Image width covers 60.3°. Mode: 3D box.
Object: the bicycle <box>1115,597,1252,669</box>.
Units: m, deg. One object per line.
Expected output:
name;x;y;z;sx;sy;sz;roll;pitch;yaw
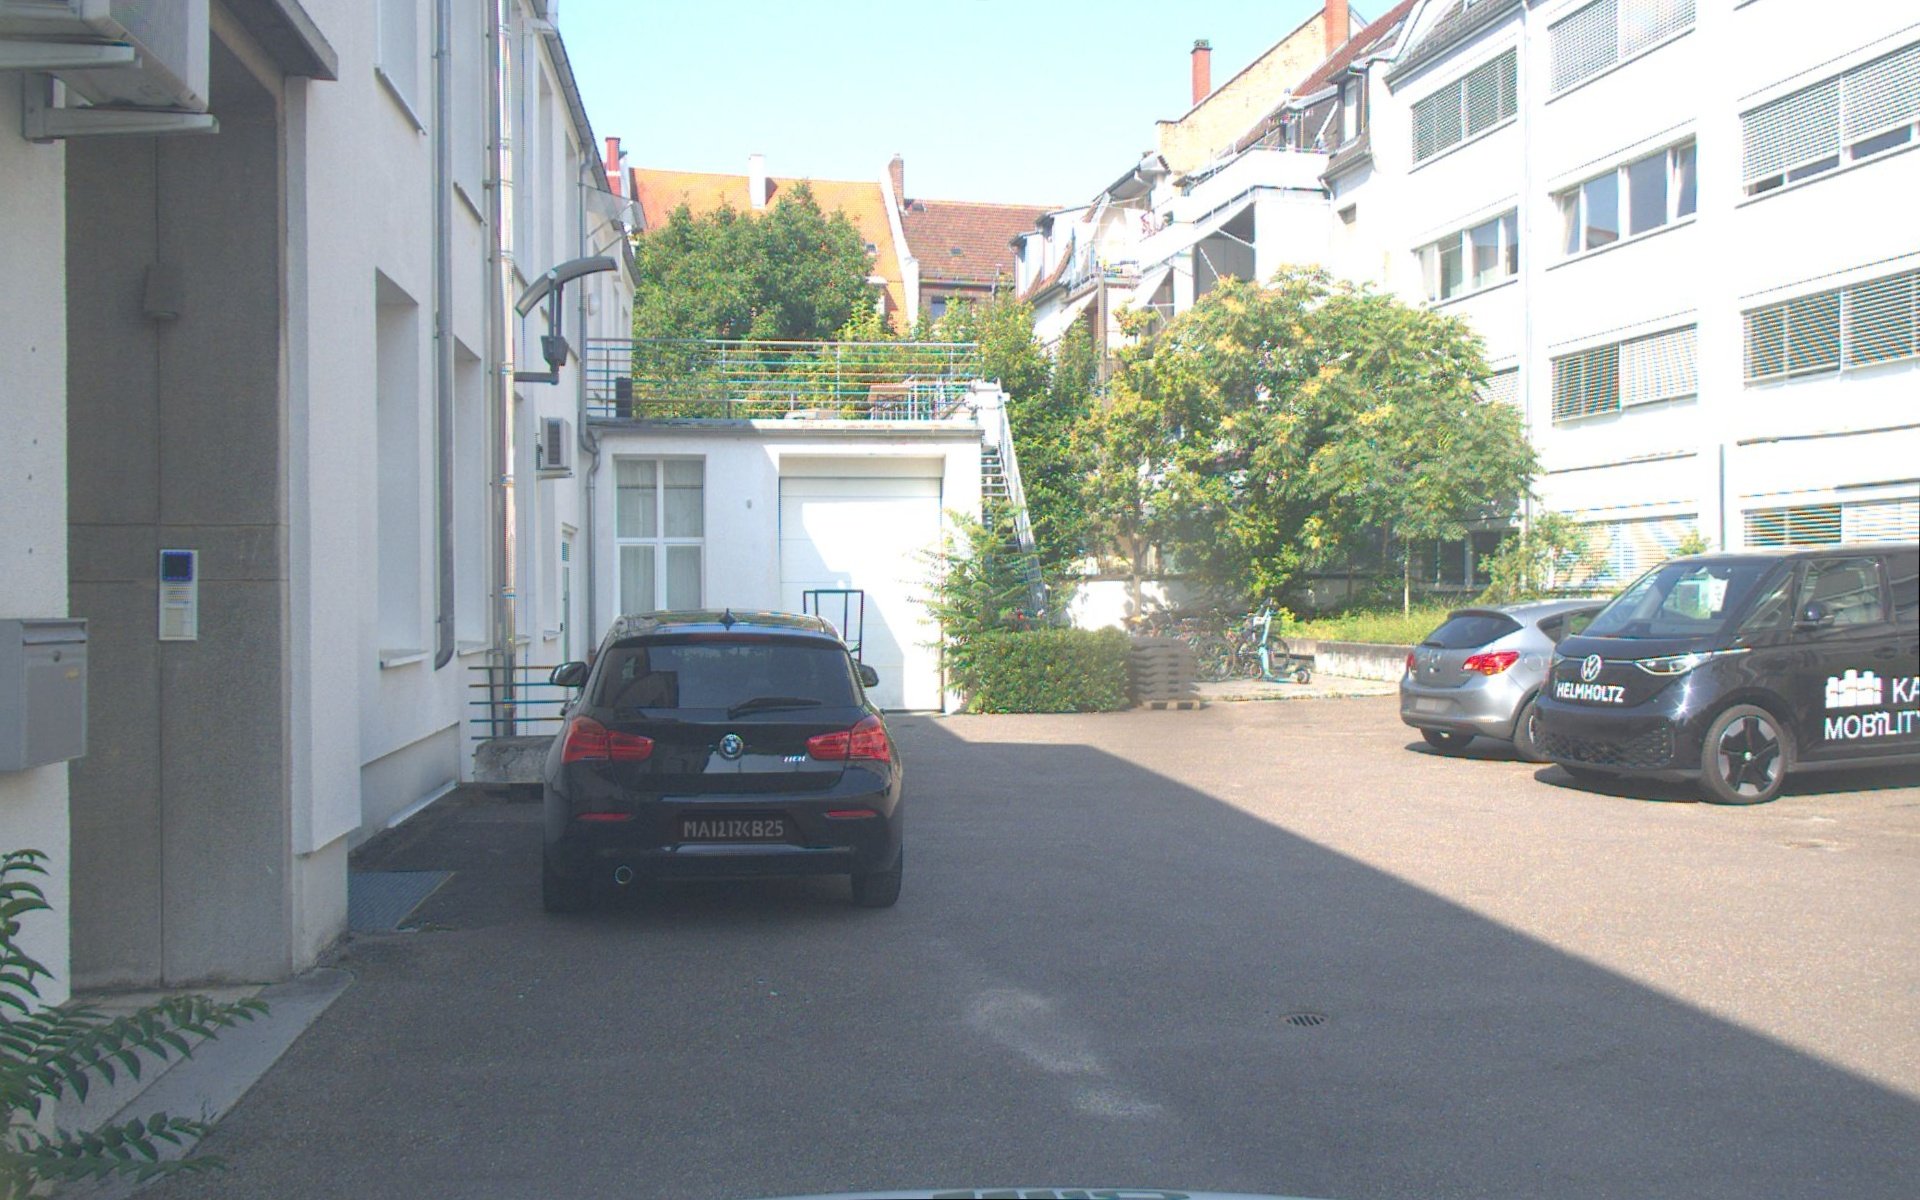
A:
bicycle;3.995;0.586;29.591;2.366;1.268;0.525;0;0;-8

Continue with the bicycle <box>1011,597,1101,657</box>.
bicycle;1.991;0.540;34.160;1.971;1.163;0.484;-2;1;-36

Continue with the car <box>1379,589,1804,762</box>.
car;6.242;0.668;16.372;3.841;1.491;1.652;-1;1;-22

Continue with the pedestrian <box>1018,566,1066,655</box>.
pedestrian;1.694;0.209;34.225;0.604;1.802;0.850;0;0;-36

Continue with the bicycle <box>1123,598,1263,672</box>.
bicycle;4.077;0.603;28.968;2.366;1.268;0.525;0;0;-8

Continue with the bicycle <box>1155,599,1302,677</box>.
bicycle;4.468;0.627;27.513;2.366;1.268;0.525;0;0;-8

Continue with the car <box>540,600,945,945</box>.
car;-1.296;0.742;9.294;1.760;1.453;4.126;0;0;-10

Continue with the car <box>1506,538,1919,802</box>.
car;6.848;0.466;13.483;4.267;1.891;1.905;-1;1;-18

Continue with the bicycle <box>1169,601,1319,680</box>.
bicycle;4.611;0.648;26.888;2.366;1.268;0.525;0;0;-8

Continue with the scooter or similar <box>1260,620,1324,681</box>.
scooter or similar;5.349;0.804;26.647;0.358;0.940;0.983;0;0;-45

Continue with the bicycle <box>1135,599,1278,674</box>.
bicycle;4.209;0.621;28.244;2.366;1.268;0.525;0;0;-8
